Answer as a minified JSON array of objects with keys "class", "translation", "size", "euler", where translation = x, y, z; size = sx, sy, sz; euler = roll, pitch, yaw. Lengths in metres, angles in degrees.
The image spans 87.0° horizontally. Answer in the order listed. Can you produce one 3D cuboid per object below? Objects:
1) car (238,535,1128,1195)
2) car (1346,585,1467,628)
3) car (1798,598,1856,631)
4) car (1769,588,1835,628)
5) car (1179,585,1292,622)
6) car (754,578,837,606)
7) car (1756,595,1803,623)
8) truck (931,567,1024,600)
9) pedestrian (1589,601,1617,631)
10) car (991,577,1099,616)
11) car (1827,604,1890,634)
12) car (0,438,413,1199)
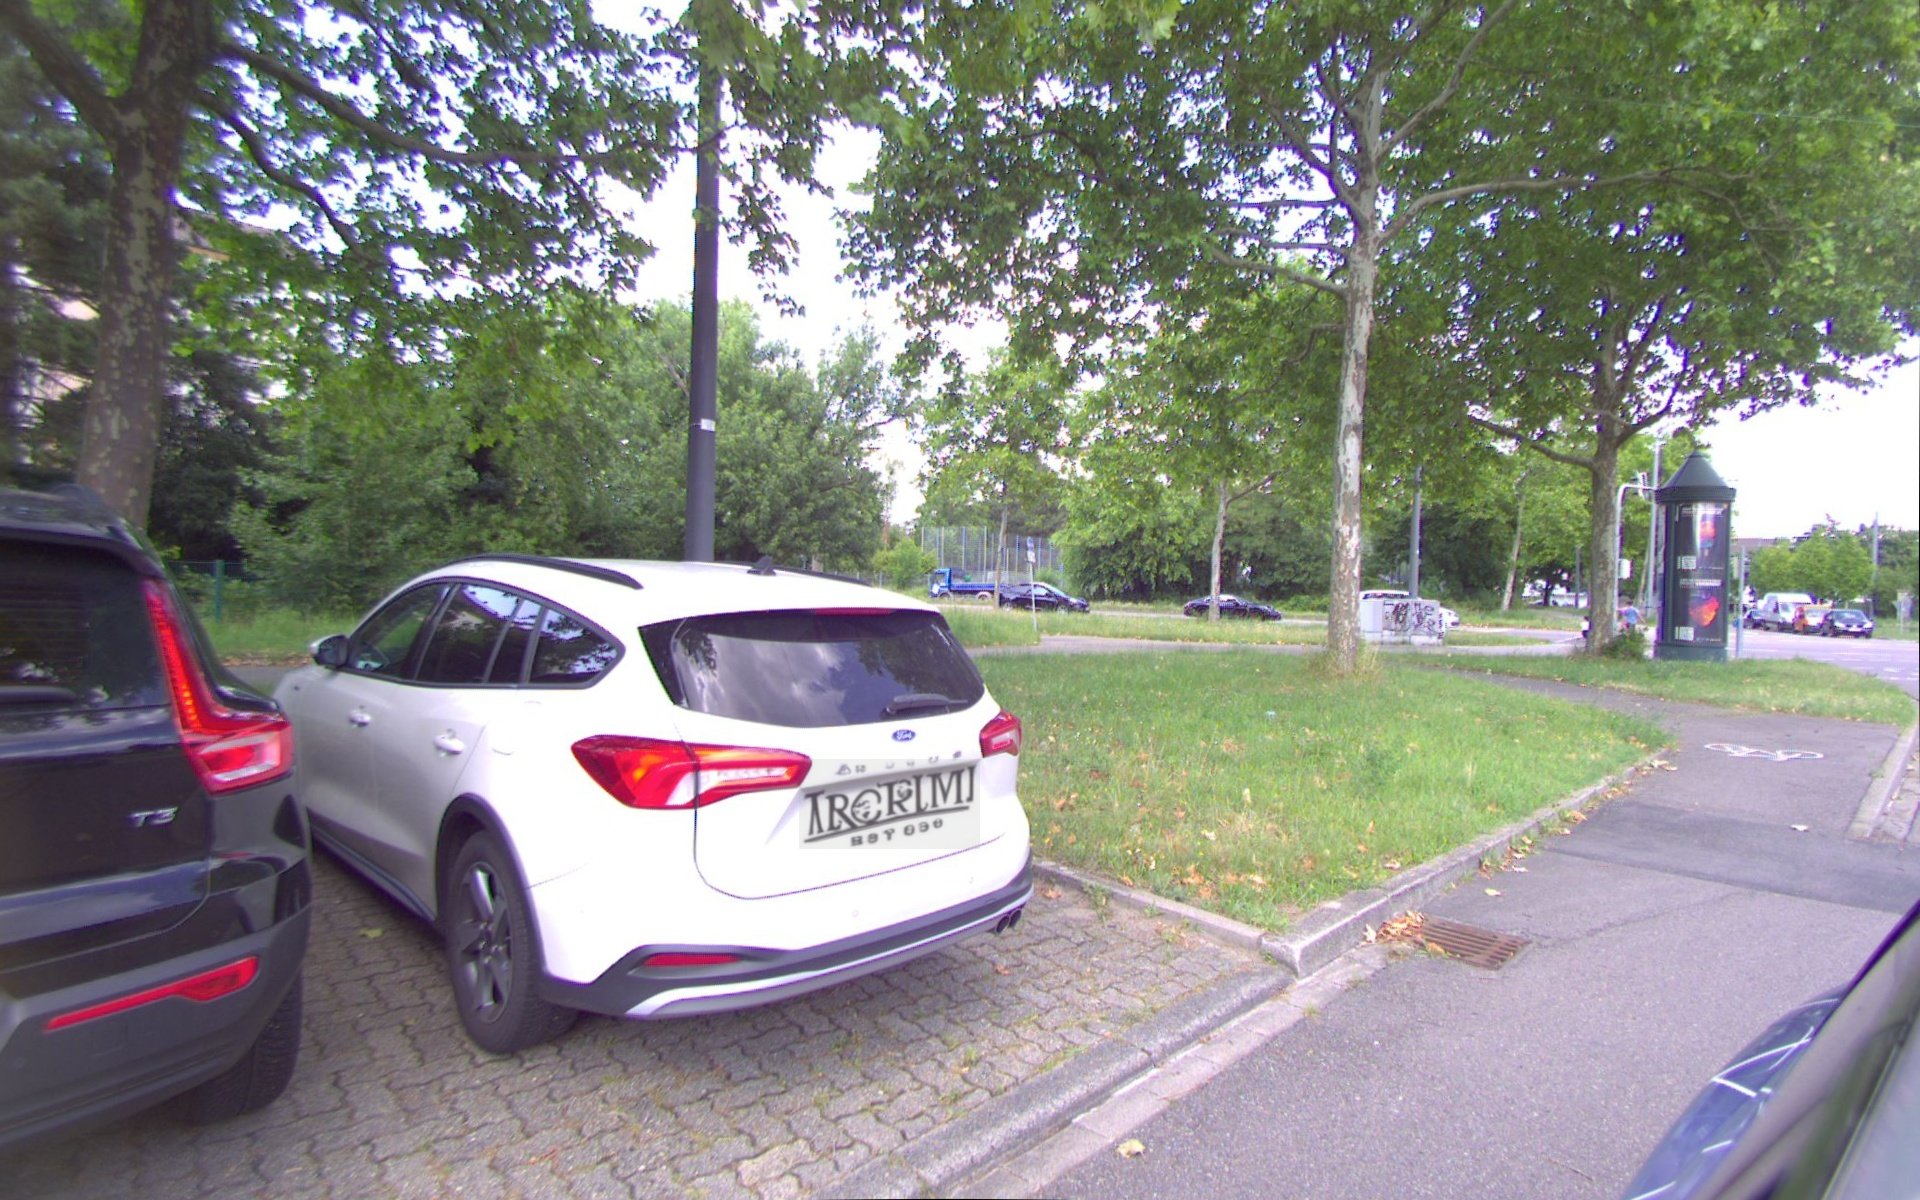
[{"class":"car","translation":[-1.704,0.507,4.607],"size":[4.661,1.492,1.818],"euler":[4,2,45]},{"class":"car","translation":[19.281,0.229,43.689],"size":[4.644,1.630,1.981],"euler":[2,2,28]},{"class":"car","translation":[53.146,0.847,62.092],"size":[1.780,1.959,4.325],"euler":[1,1,29]},{"class":"car","translation":[56.278,0.519,67.766],"size":[2.219,2.538,5.670],"euler":[1,1,28]},{"class":"car","translation":[12.710,0.124,46.735],"size":[4.706,1.487,1.981],"euler":[2,2,28]},{"class":"car","translation":[-9.774,-0.507,60.158],"size":[4.644,1.532,1.981],"euler":[2,2,28]},{"class":"car","translation":[58.917,0.623,72.794],"size":[1.780,1.959,4.326],"euler":[1,1,28]},{"class":"truck","translation":[1.141,-1.119,67.185],"size":[5.813,2.038,2.266],"euler":[2,1,33]},{"class":"pedestrian","translation":[23.268,0.570,36.608],"size":[0.719,1.047,0.888],"euler":[2,1,40]},{"class":"car","translation":[3.979,-0.189,47.414],"size":[4.645,1.630,1.980],"euler":[2,2,29]},{"class":"car","translation":[50.315,1.019,56.754],"size":[1.781,1.558,3.959],"euler":[1,1,29]},{"class":"car","translation":[-3.443,0.438,3.114],"size":[4.661,1.646,1.818],"euler":[4,2,45]}]
